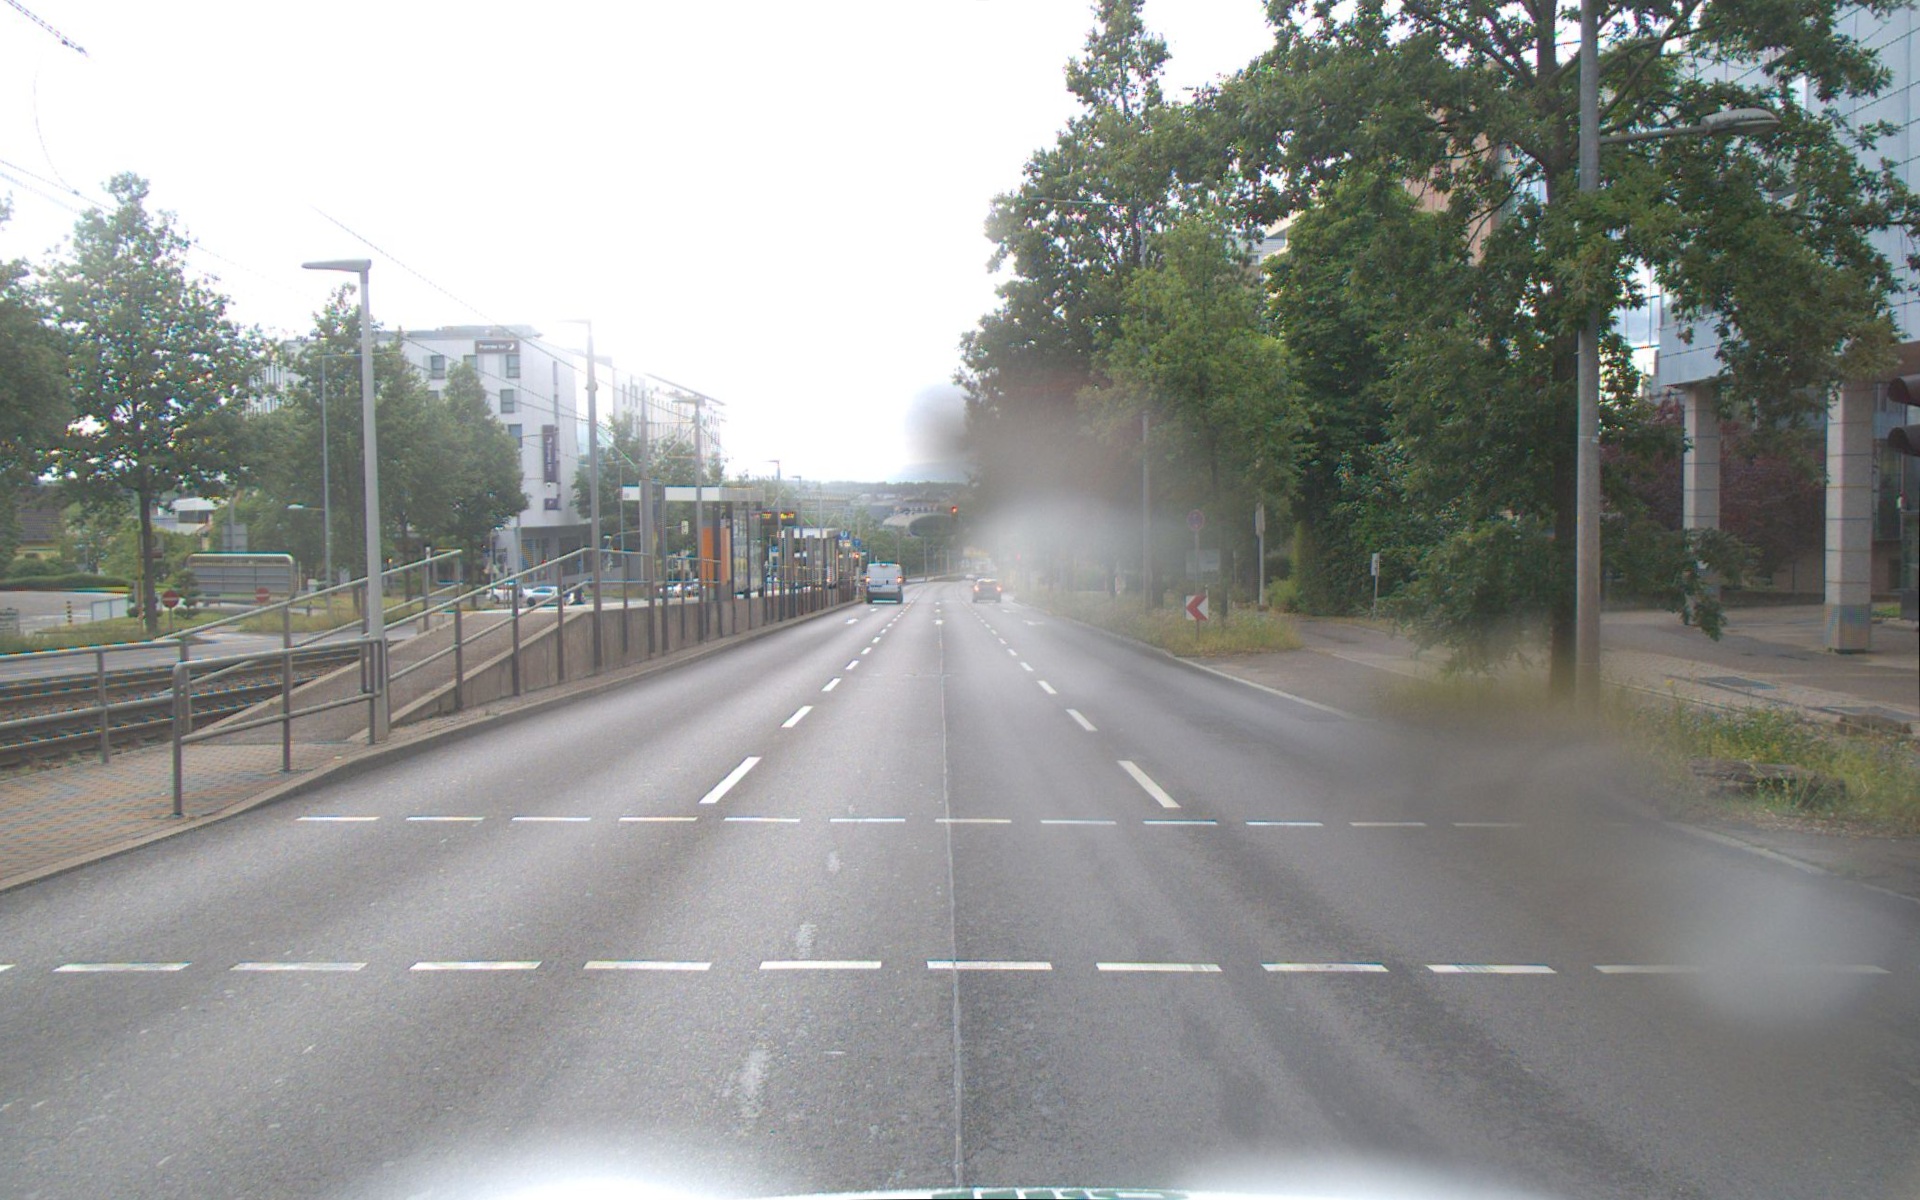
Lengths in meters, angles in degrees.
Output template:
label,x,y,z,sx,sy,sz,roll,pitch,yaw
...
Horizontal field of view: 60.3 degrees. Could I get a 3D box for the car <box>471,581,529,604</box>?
label,x,y,z,sx,sy,sz,roll,pitch,yaw
car,-33.724,-0.538,121.302,4.022,1.461,1.649,-3,1,-16

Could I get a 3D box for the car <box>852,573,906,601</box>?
label,x,y,z,sx,sy,sz,roll,pitch,yaw
car,-6.036,-0.971,123.086,3.911,2.049,1.757,0,0,-7

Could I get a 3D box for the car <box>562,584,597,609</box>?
label,x,y,z,sx,sy,sz,roll,pitch,yaw
car,-23.541,-0.223,102.417,1.619,1.461,3.875,-2,1,-6

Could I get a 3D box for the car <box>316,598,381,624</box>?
label,x,y,z,sx,sy,sz,roll,pitch,yaw
car,-35.266,0.617,95.350,3.297,1.411,1.434,0,1,16

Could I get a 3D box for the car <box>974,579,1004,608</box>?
label,x,y,z,sx,sy,sz,roll,pitch,yaw
car,1.793,-0.420,103.030,1.738,1.720,3.845,0,1,-1

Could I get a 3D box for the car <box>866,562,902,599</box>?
label,x,y,z,sx,sy,sz,roll,pitch,yaw
car,-4.432,-1.128,96.729,2.051,2.089,4.604,0,1,-2

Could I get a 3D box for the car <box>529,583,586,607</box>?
label,x,y,z,sx,sy,sz,roll,pitch,yaw
car,-28.156,-0.339,115.671,3.796,1.461,1.652,-2,1,32
